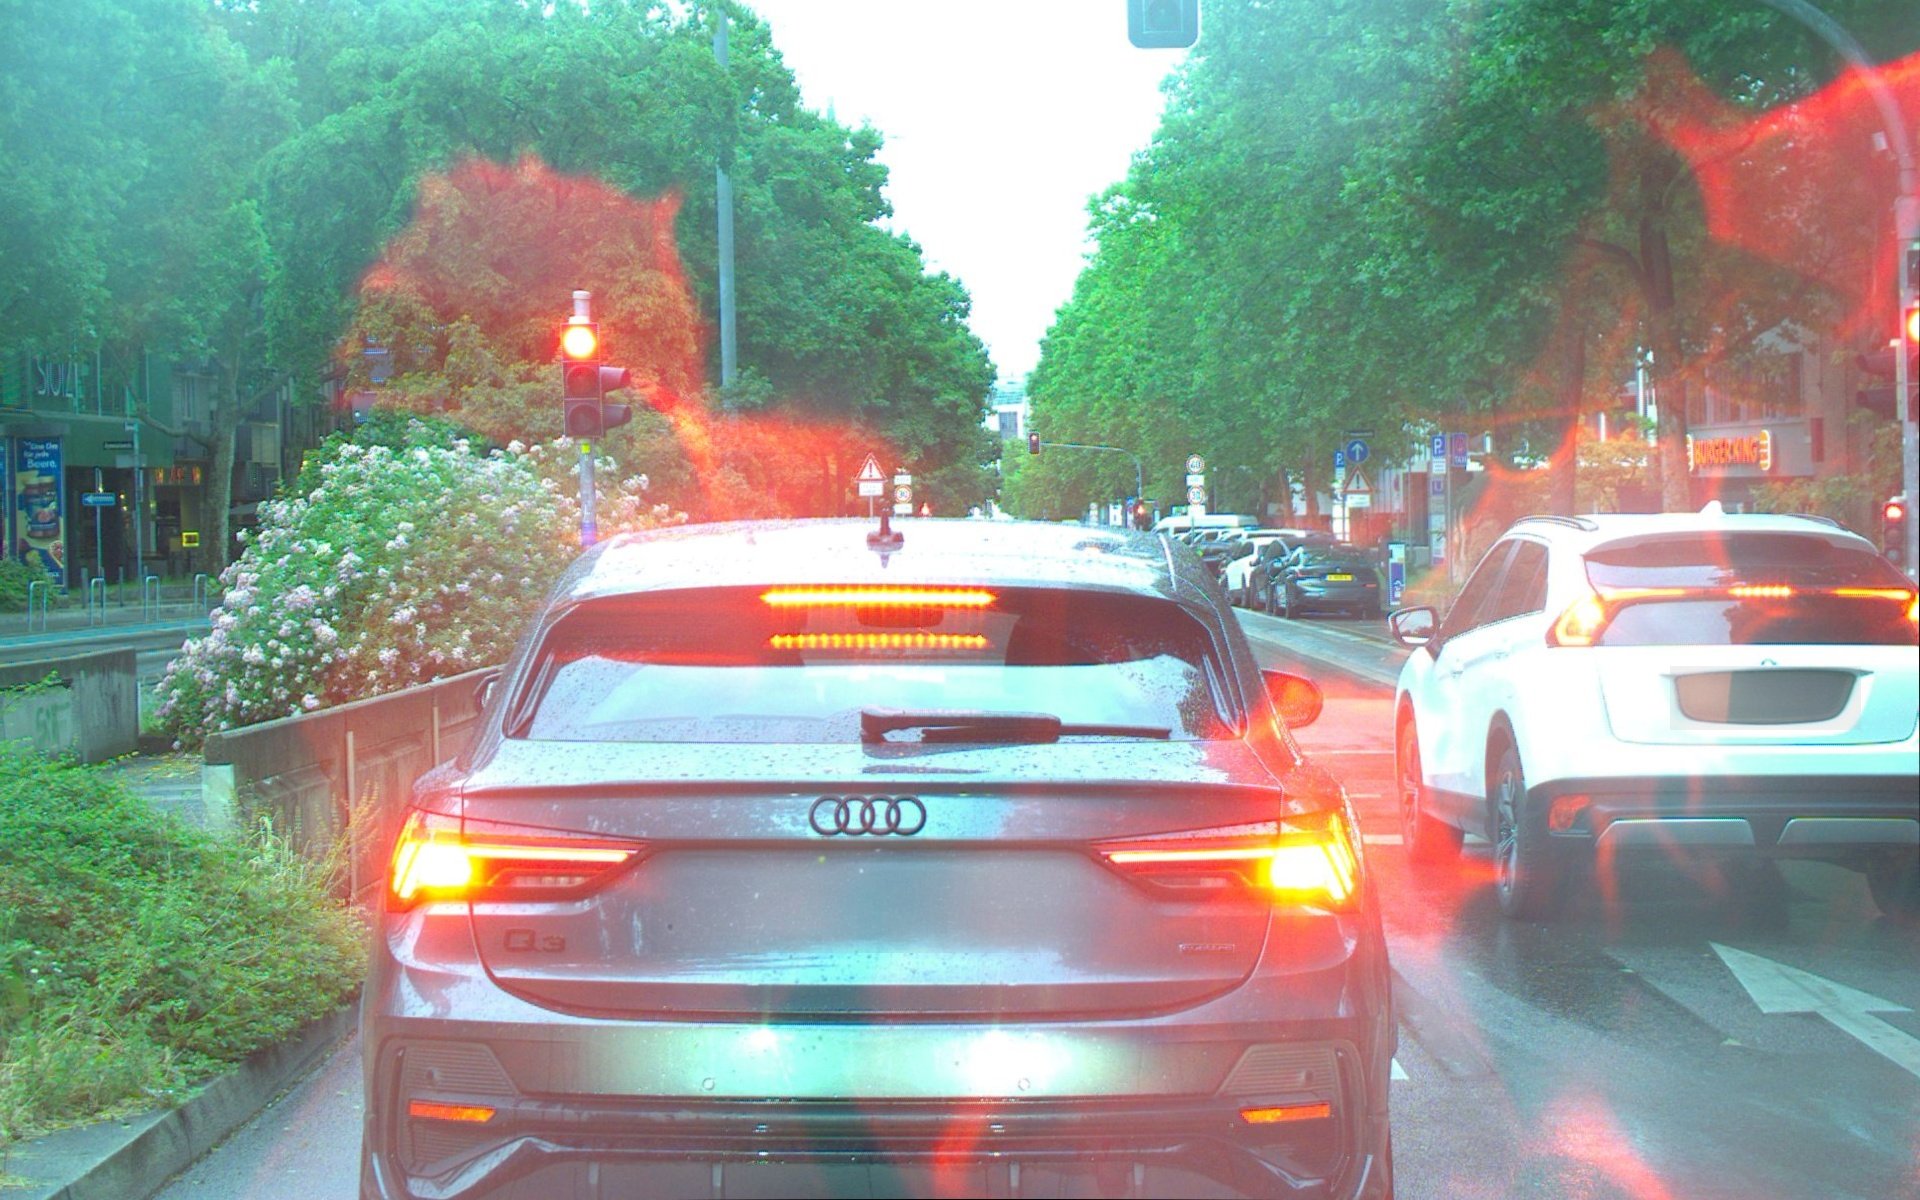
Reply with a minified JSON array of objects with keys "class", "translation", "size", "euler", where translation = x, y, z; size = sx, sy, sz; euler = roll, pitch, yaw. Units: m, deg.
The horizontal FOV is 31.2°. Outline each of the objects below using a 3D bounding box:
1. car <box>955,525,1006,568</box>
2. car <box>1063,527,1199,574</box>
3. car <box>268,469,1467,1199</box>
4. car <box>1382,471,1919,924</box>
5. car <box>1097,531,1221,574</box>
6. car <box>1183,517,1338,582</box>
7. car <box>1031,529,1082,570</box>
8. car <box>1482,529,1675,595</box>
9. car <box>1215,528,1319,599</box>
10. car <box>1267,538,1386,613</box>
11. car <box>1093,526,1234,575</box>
[{"class":"car","translation":[0.784,-2.047,132.423],"size":[1.896,1.593,3.939],"euler":[1,0,-1]},{"class":"car","translation":[6.391,-1.844,128.461],"size":[4.646,1.700,1.997],"euler":[1,0,28]},{"class":"car","translation":[-0.167,0.563,7.313],"size":[1.849,1.596,4.000],"euler":[0,1,-1]},{"class":"car","translation":[3.034,0.356,15.024],"size":[1.878,1.691,4.000],"euler":[1,0,0]},{"class":"car","translation":[8.144,-1.944,140.808],"size":[4.646,1.700,1.997],"euler":[1,0,28]},{"class":"car","translation":[9.553,-1.603,109.516],"size":[4.602,2.007,1.964],"euler":[1,0,39]},{"class":"car","translation":[3.929,-2.059,140.729],"size":[1.993,1.645,4.000],"euler":[1,0,1]},{"class":"car","translation":[10.554,-0.648,58.673],"size":[2.889,1.071,1.453],"euler":[1,0,32]},{"class":"car","translation":[7.057,-0.841,79.356],"size":[1.727,1.566,4.074],"euler":[1,0,-4]},{"class":"car","translation":[7.272,-0.495,68.592],"size":[1.873,1.416,4.611],"euler":[1,1,0]},{"class":"car","translation":[7.292,-1.787,123.305],"size":[4.646,1.700,1.997],"euler":[1,0,28]}]
